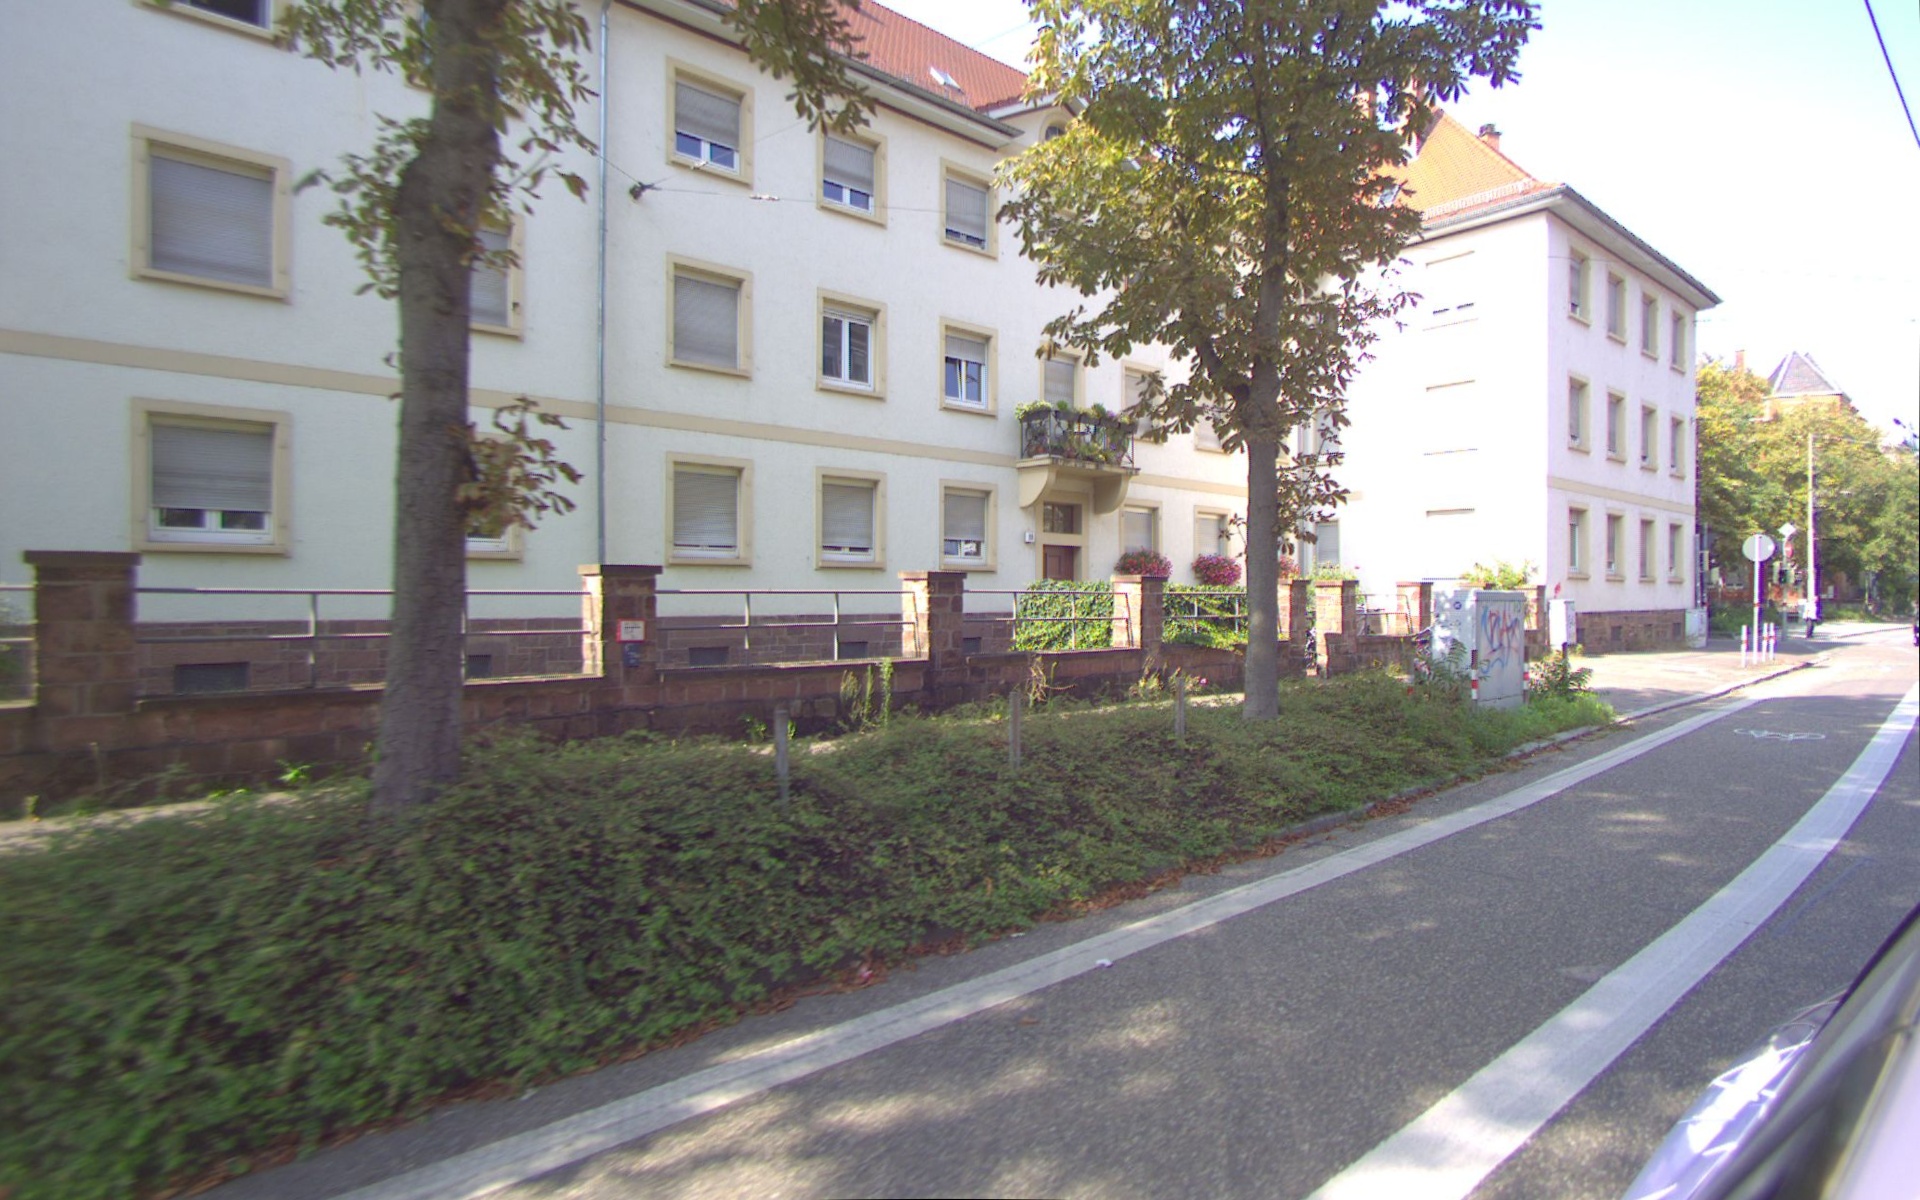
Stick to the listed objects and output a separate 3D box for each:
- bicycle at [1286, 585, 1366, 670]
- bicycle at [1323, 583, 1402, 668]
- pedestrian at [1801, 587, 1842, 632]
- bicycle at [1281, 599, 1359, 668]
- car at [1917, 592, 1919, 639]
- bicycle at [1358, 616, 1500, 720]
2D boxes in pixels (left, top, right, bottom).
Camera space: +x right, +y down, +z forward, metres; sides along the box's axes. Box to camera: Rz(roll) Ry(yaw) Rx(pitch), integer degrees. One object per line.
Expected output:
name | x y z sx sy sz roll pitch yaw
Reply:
bicycle | 6.613 0.480 18.242 1.707 1.474 0.455 0 -1 -36
bicycle | 7.212 0.439 18.096 1.707 1.474 0.455 0 -1 -36
pedestrian | 35.426 0.382 41.598 0.952 1.746 1.079 0 3 -41
bicycle | 6.702 0.603 18.819 1.707 1.231 0.455 0 -1 -36
car | 32.734 0.481 33.240 3.935 1.487 1.771 0 -1 -45
bicycle | 5.751 0.771 12.338 2.294 1.118 0.772 0 0 -43
